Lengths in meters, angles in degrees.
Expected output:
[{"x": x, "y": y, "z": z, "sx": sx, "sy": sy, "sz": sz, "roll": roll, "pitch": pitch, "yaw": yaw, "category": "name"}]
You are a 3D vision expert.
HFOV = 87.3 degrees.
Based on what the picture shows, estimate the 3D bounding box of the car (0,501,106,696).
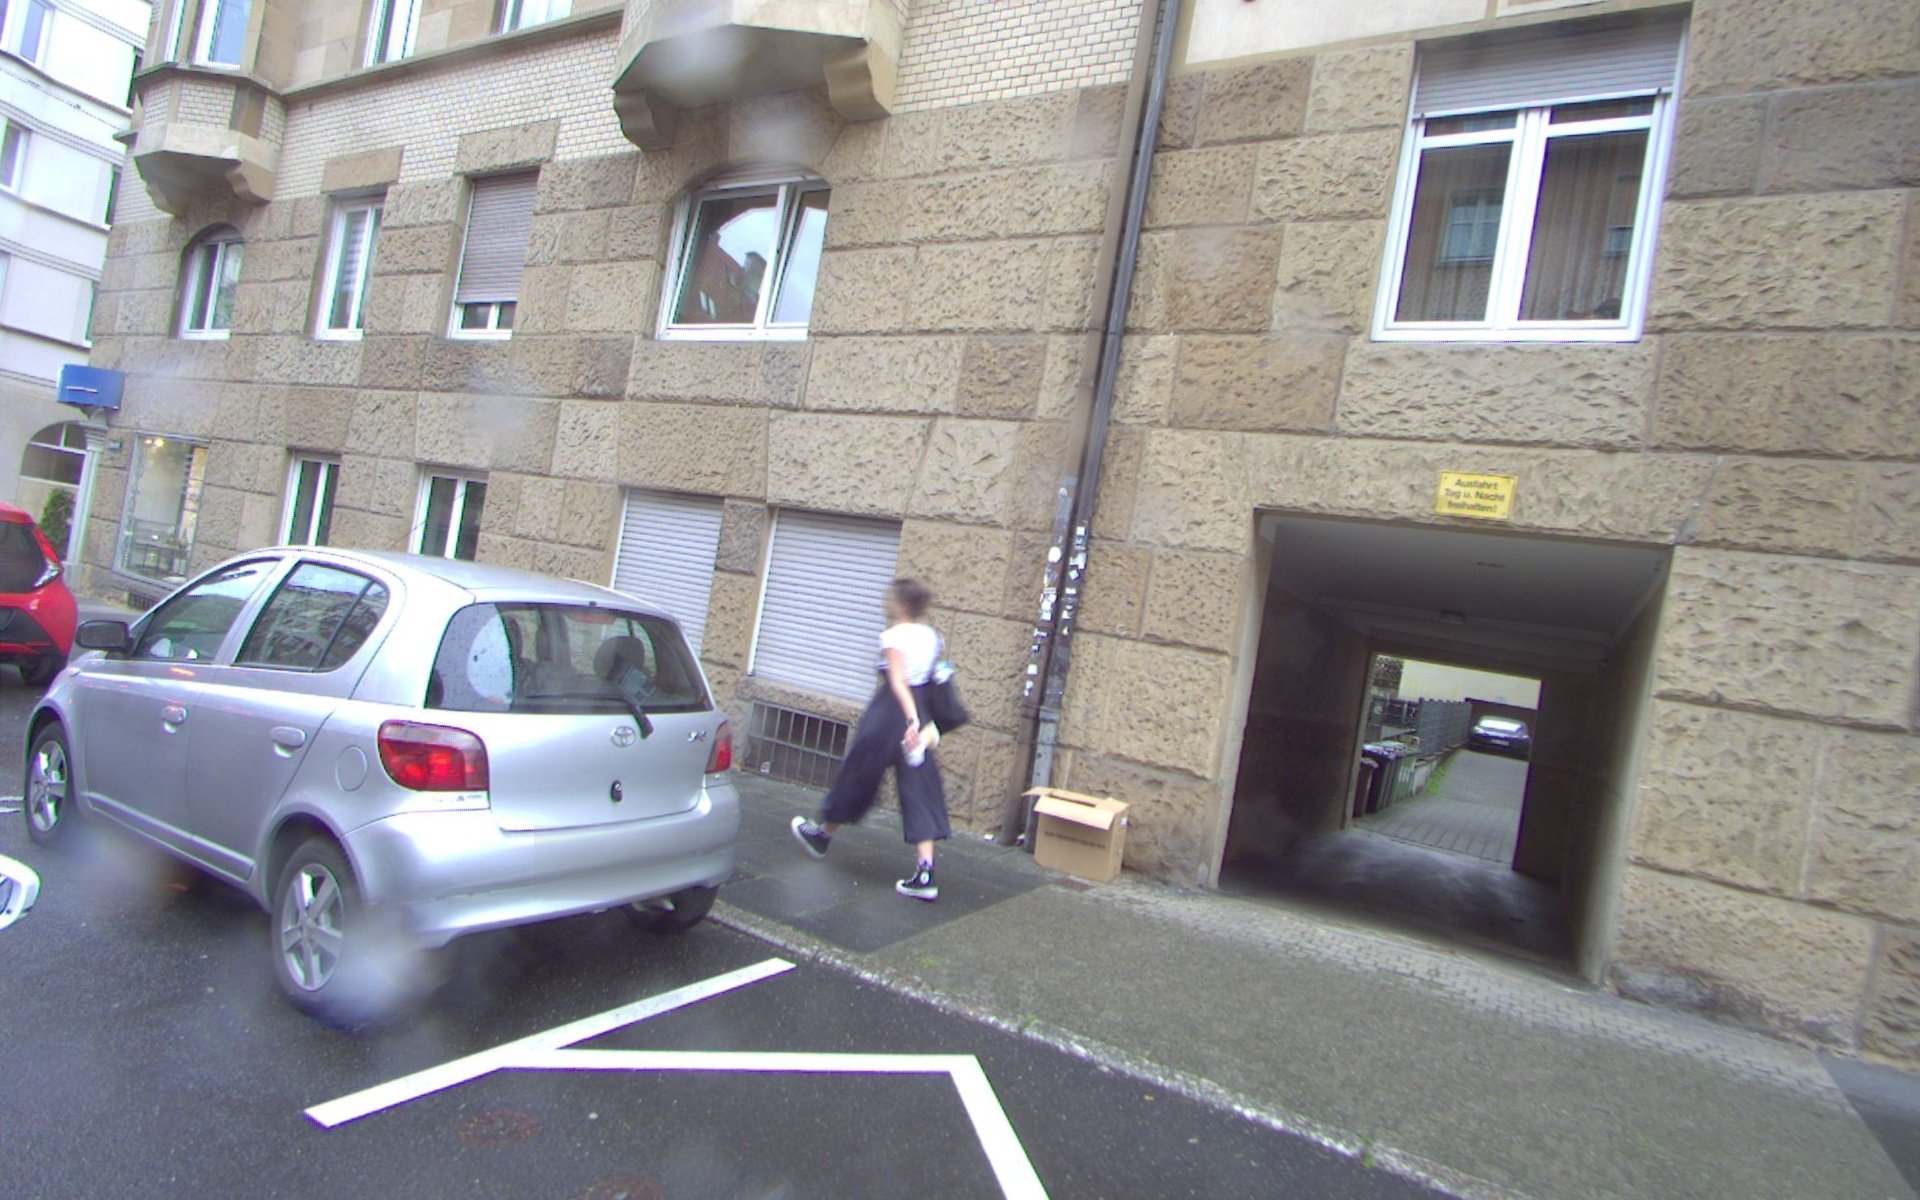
[{"x": -8.804, "y": -0.204, "z": 8.216, "sx": 3.243, "sy": 1.464, "sz": 1.646, "roll": 7, "pitch": -2, "yaw": 29, "category": "car"}]

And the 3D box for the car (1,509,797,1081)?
[{"x": -2.556, "y": 0.546, "z": 4.438, "sx": 3.258, "sy": 1.485, "sz": 1.616, "roll": 7, "pitch": -1, "yaw": 33, "category": "car"}]

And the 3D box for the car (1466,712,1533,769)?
[{"x": 18.267, "y": 4.706, "z": 33.980, "sx": 1.693, "sy": 1.538, "sz": 4.102, "roll": 7, "pitch": -3, "yaw": 31, "category": "car"}]

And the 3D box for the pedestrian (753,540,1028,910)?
[{"x": -0.380, "y": 0.636, "z": 5.568, "sx": 1.093, "sy": 1.768, "sz": 0.743, "roll": 6, "pitch": -1, "yaw": 32, "category": "pedestrian"}]
